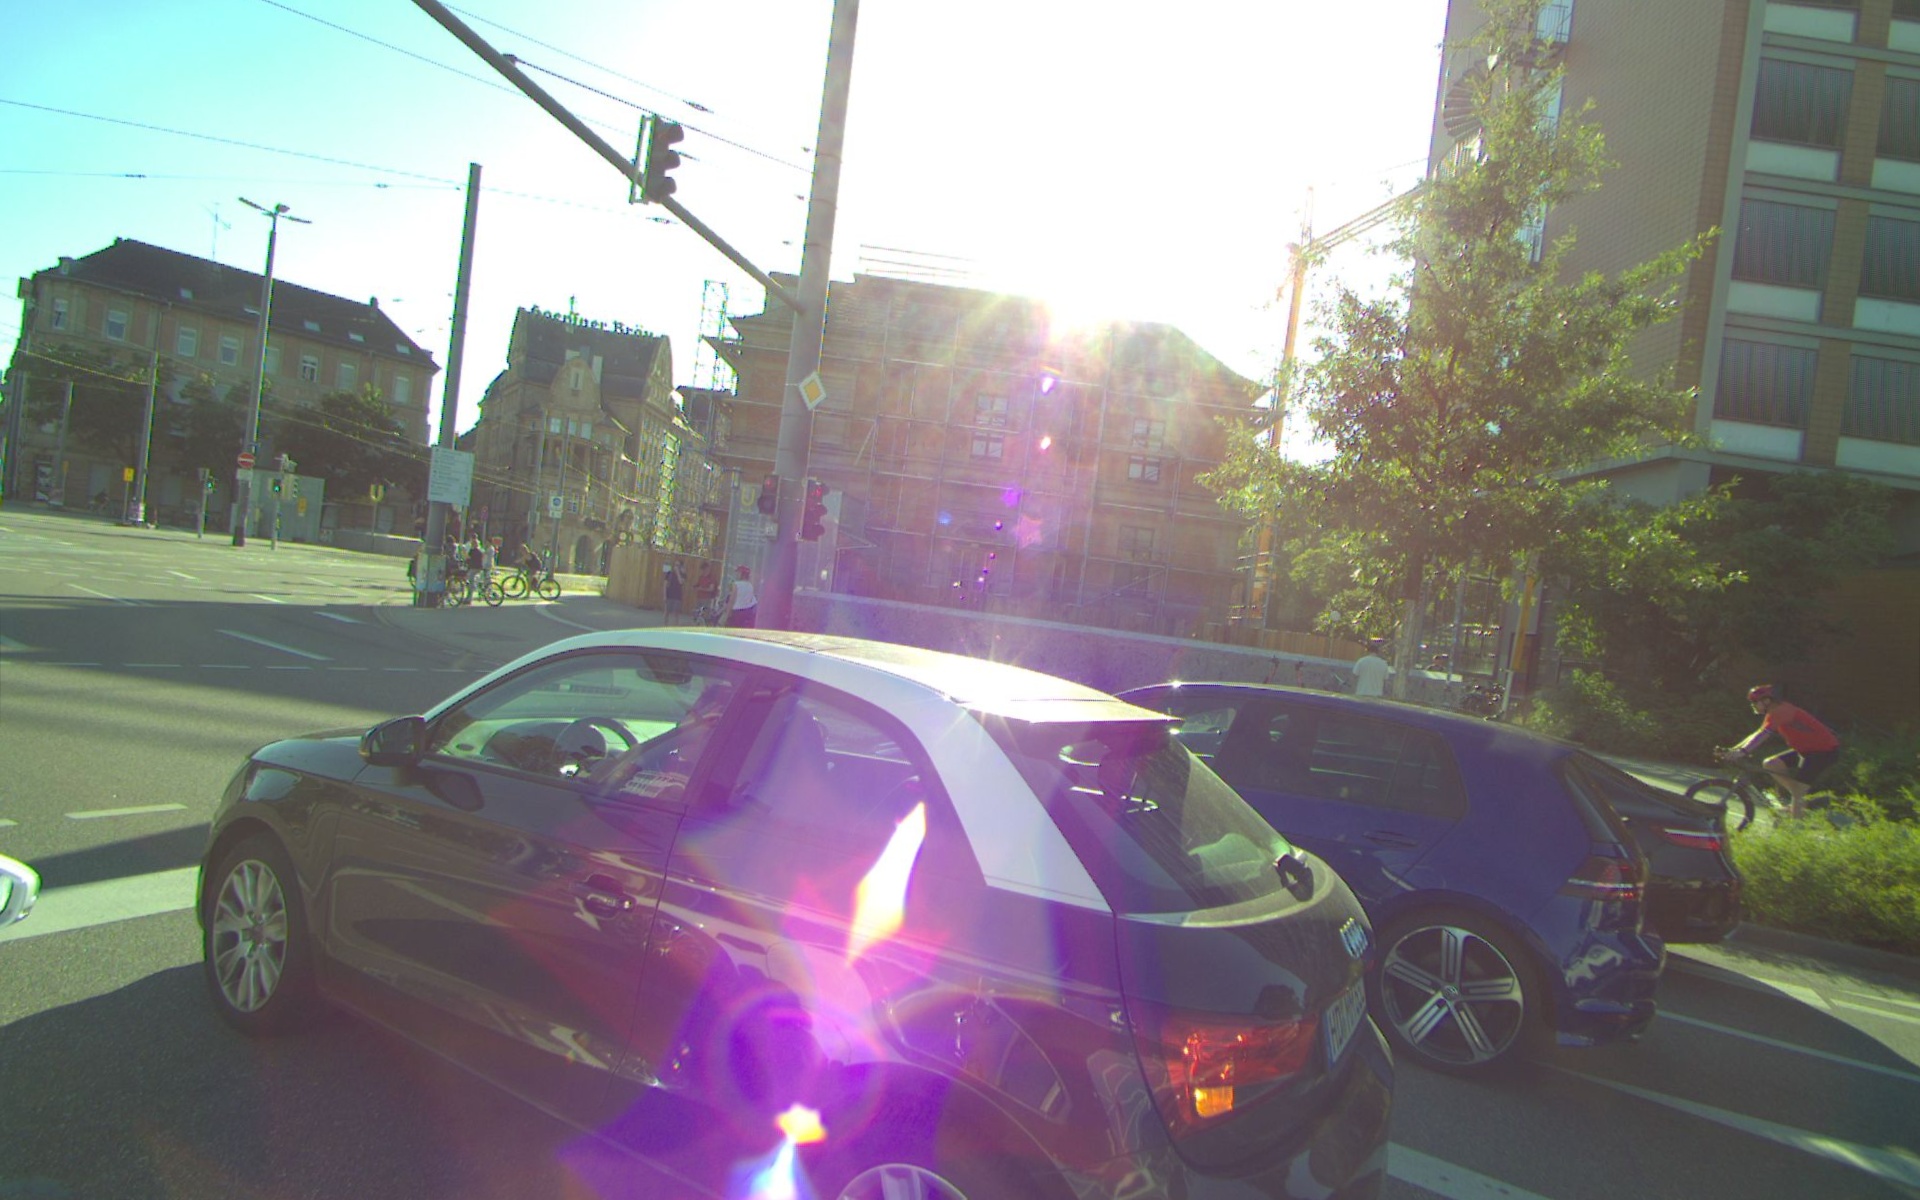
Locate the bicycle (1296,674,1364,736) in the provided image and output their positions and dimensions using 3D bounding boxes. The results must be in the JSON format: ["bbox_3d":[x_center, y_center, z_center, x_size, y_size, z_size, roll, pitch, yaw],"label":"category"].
[{"bbox_3d":[6.958,1.963,18.934,0.352,1.015,1.149,8,-2,-29],"label":"bicycle"}]

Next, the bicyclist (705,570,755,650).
[{"bbox_3d":[-4.521,0.212,19.804,0.661,1.471,0.618,7,-1,3],"label":"bicyclist"}]

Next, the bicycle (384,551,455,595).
[{"bbox_3d":[-16.757,-0.844,31.199,2.278,1.061,0.536,8,-1,24],"label":"bicycle"}]

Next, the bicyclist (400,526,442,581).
[{"bbox_3d":[-16.742,-1.452,31.233,0.930,1.575,0.516,7,-1,23],"label":"bicyclist"}]

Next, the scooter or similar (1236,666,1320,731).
[{"bbox_3d":[5.912,1.828,18.705,1.348,1.007,0.342,7,-1,25],"label":"scooter or similar"}]

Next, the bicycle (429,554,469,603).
[{"bbox_3d":[-12.778,-0.551,25.121,0.693,1.061,2.303,9,-1,-29],"label":"bicycle"}]

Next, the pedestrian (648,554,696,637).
[{"bbox_3d":[-6.673,-0.103,23.322,0.672,1.830,0.672,7,2,11],"label":"pedestrian"}]

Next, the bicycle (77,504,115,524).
[{"bbox_3d":[-53.525,-5.325,62.325,1.580,0.963,0.655,8,-2,-25],"label":"bicycle"}]

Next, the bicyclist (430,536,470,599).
[{"bbox_3d":[-12.747,-0.818,25.130,0.702,1.456,0.940,8,-1,-29],"label":"bicyclist"}]

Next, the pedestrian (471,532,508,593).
[{"bbox_3d":[-15.968,-1.266,34.153,0.678,1.945,0.649,7,-1,25],"label":"pedestrian"}]

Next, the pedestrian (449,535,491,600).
[{"bbox_3d":[-16.318,-1.084,33.497,0.748,2.037,0.733,7,-1,25],"label":"pedestrian"}]

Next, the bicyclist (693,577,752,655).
[{"bbox_3d":[-4.394,0.297,18.613,0.662,1.330,0.617,7,-1,27],"label":"bicyclist"}]

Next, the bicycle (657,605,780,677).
[{"bbox_3d":[-4.164,0.692,17.311,1.999,0.974,0.660,6,-1,27],"label":"bicycle"}]

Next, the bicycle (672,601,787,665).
[{"bbox_3d":[-4.527,0.639,19.806,1.997,0.976,0.660,7,2,5],"label":"bicycle"}]

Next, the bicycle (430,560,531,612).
[{"bbox_3d":[-12.619,-0.368,26.490,2.276,1.061,0.702,7,-1,8],"label":"bicycle"}]

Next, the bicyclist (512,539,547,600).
[{"bbox_3d":[-13.515,-0.958,31.607,0.785,1.800,0.520,8,-1,-23],"label":"bicyclist"}]

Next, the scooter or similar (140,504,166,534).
[{"bbox_3d":[-42.015,-4.216,52.384,0.784,1.392,1.885,8,-2,-44],"label":"scooter or similar"}]

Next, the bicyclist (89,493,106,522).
[{"bbox_3d":[-53.462,-5.731,62.333,0.509,1.720,0.517,7,-1,-25],"label":"bicyclist"}]

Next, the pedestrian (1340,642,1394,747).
[{"bbox_3d":[6.857,1.568,16.939,0.592,1.662,0.677,7,3,29],"label":"pedestrian"}]

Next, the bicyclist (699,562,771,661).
[{"bbox_3d":[-3.837,0.204,17.180,0.781,1.571,0.668,7,-1,27],"label":"bicyclist"}]

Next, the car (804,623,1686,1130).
[{"bbox_3d":[1.280,1.099,5.348,3.934,1.420,1.627,6,-2,32],"label":"car"}]

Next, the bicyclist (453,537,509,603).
[{"bbox_3d":[-12.602,-0.783,26.495,0.929,1.575,0.711,7,-1,8],"label":"bicyclist"}]

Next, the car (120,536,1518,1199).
[{"bbox_3d":[-0.657,0.751,3.044,3.934,1.420,1.627,6,-2,32],"label":"car"}]

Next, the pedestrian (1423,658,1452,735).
[{"bbox_3d":[11.125,2.246,23.459,0.369,1.752,0.444,7,-1,17],"label":"pedestrian"}]

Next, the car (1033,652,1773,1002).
[{"bbox_3d":[2.975,1.405,7.474,4.436,1.420,1.727,6,-2,31],"label":"car"}]

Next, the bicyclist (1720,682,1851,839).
[{"bbox_3d":[9.259,1.773,11.318,0.855,1.578,0.618,7,-1,22],"label":"bicyclist"}]

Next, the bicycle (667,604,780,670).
[{"bbox_3d":[-4.379,0.676,18.589,1.999,0.976,0.659,6,2,27],"label":"bicycle"}]

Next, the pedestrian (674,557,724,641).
[{"bbox_3d":[-5.999,-0.020,23.165,0.672,1.828,0.672,7,-1,11],"label":"pedestrian"}]

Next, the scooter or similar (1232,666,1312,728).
[{"bbox_3d":[6.005,1.865,19.392,1.346,1.007,0.343,7,-1,13],"label":"scooter or similar"}]

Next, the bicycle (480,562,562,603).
[{"bbox_3d":[-13.737,-0.544,31.525,2.289,1.063,0.532,5,2,-25],"label":"bicycle"}]

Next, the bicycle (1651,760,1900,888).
[{"bbox_3d":[9.113,2.484,11.352,1.998,0.975,0.660,6,0,24],"label":"bicycle"}]
